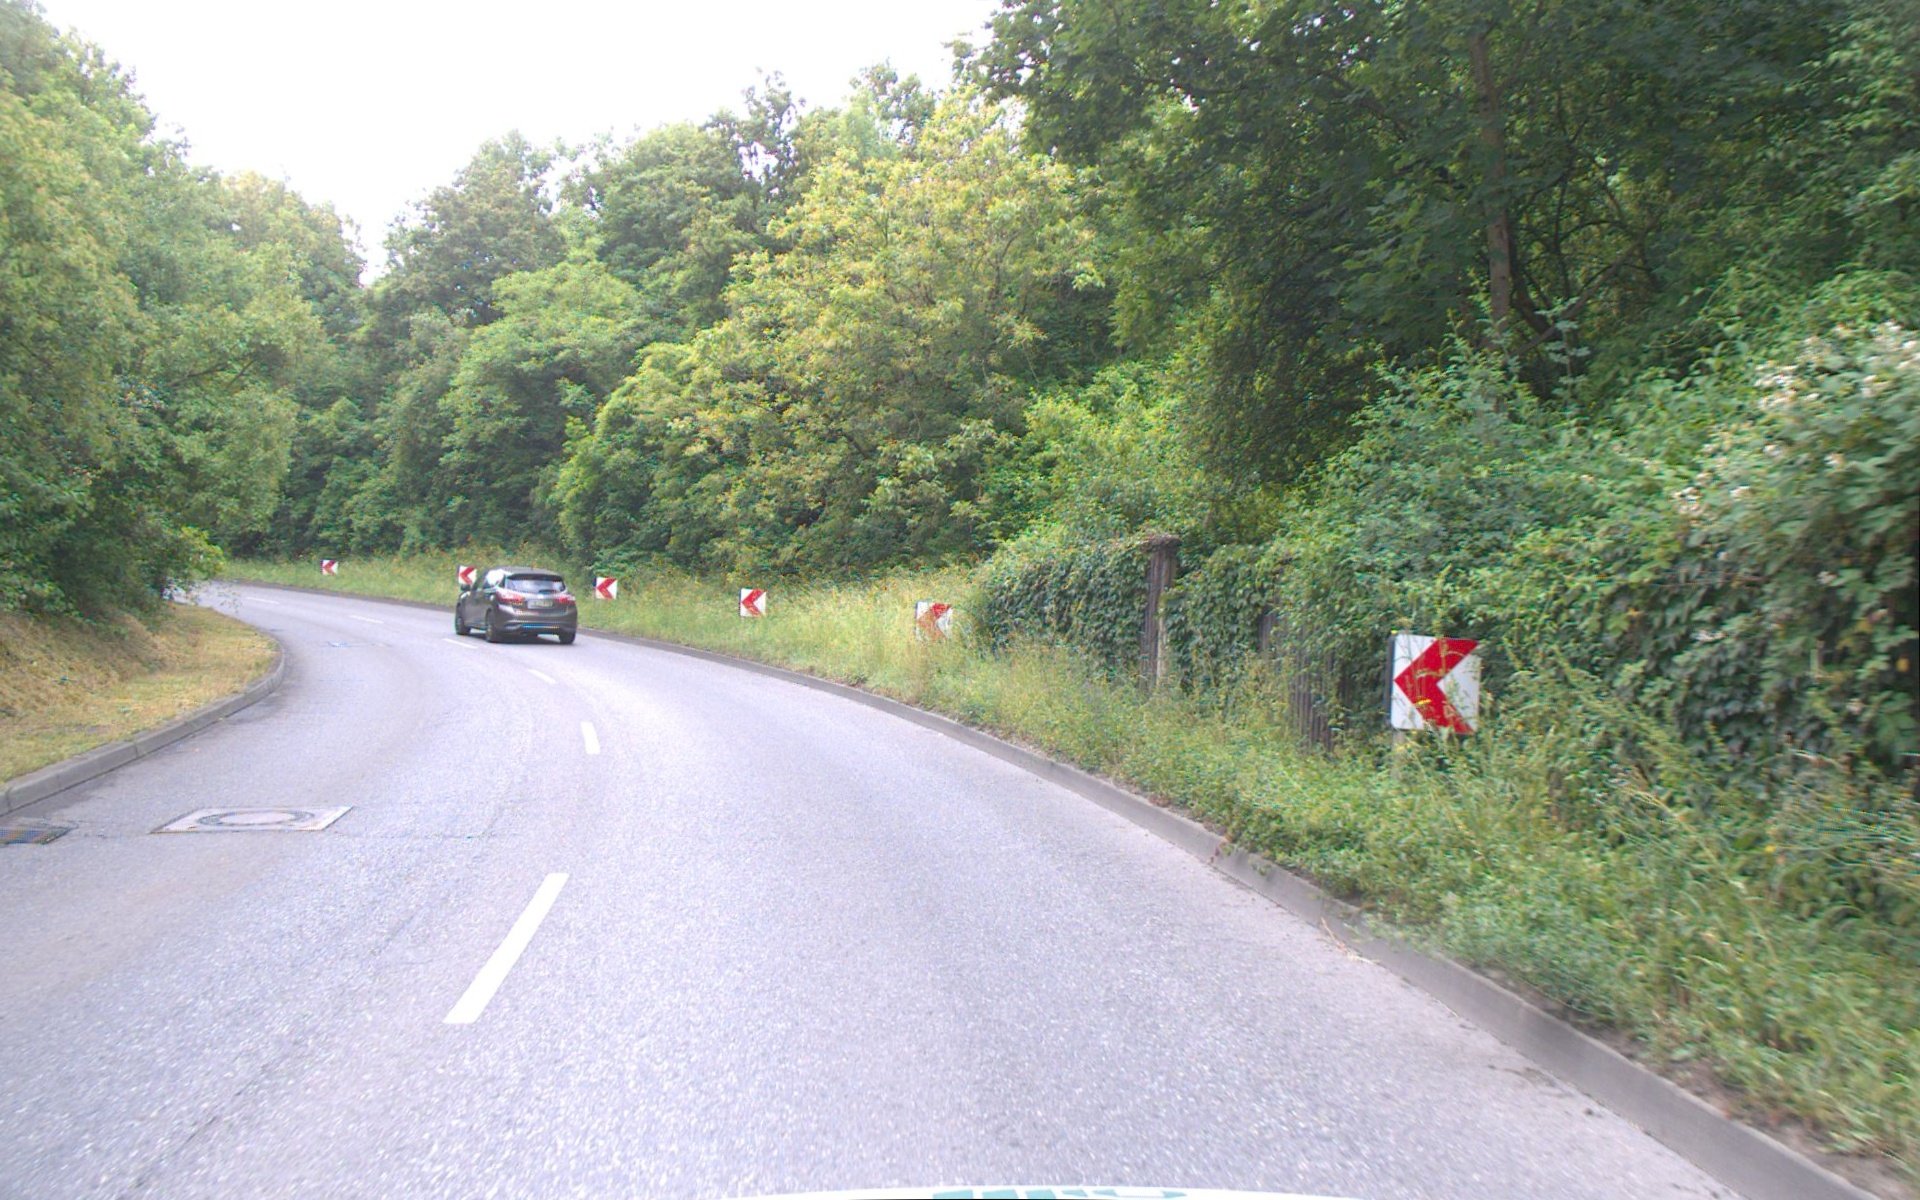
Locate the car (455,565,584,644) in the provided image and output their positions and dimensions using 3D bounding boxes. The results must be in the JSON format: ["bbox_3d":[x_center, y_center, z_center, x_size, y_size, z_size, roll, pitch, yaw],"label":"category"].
[{"bbox_3d":[-9.363,0.063,34.942,1.818,1.509,3.965,1,1,-27],"label":"car"}]
